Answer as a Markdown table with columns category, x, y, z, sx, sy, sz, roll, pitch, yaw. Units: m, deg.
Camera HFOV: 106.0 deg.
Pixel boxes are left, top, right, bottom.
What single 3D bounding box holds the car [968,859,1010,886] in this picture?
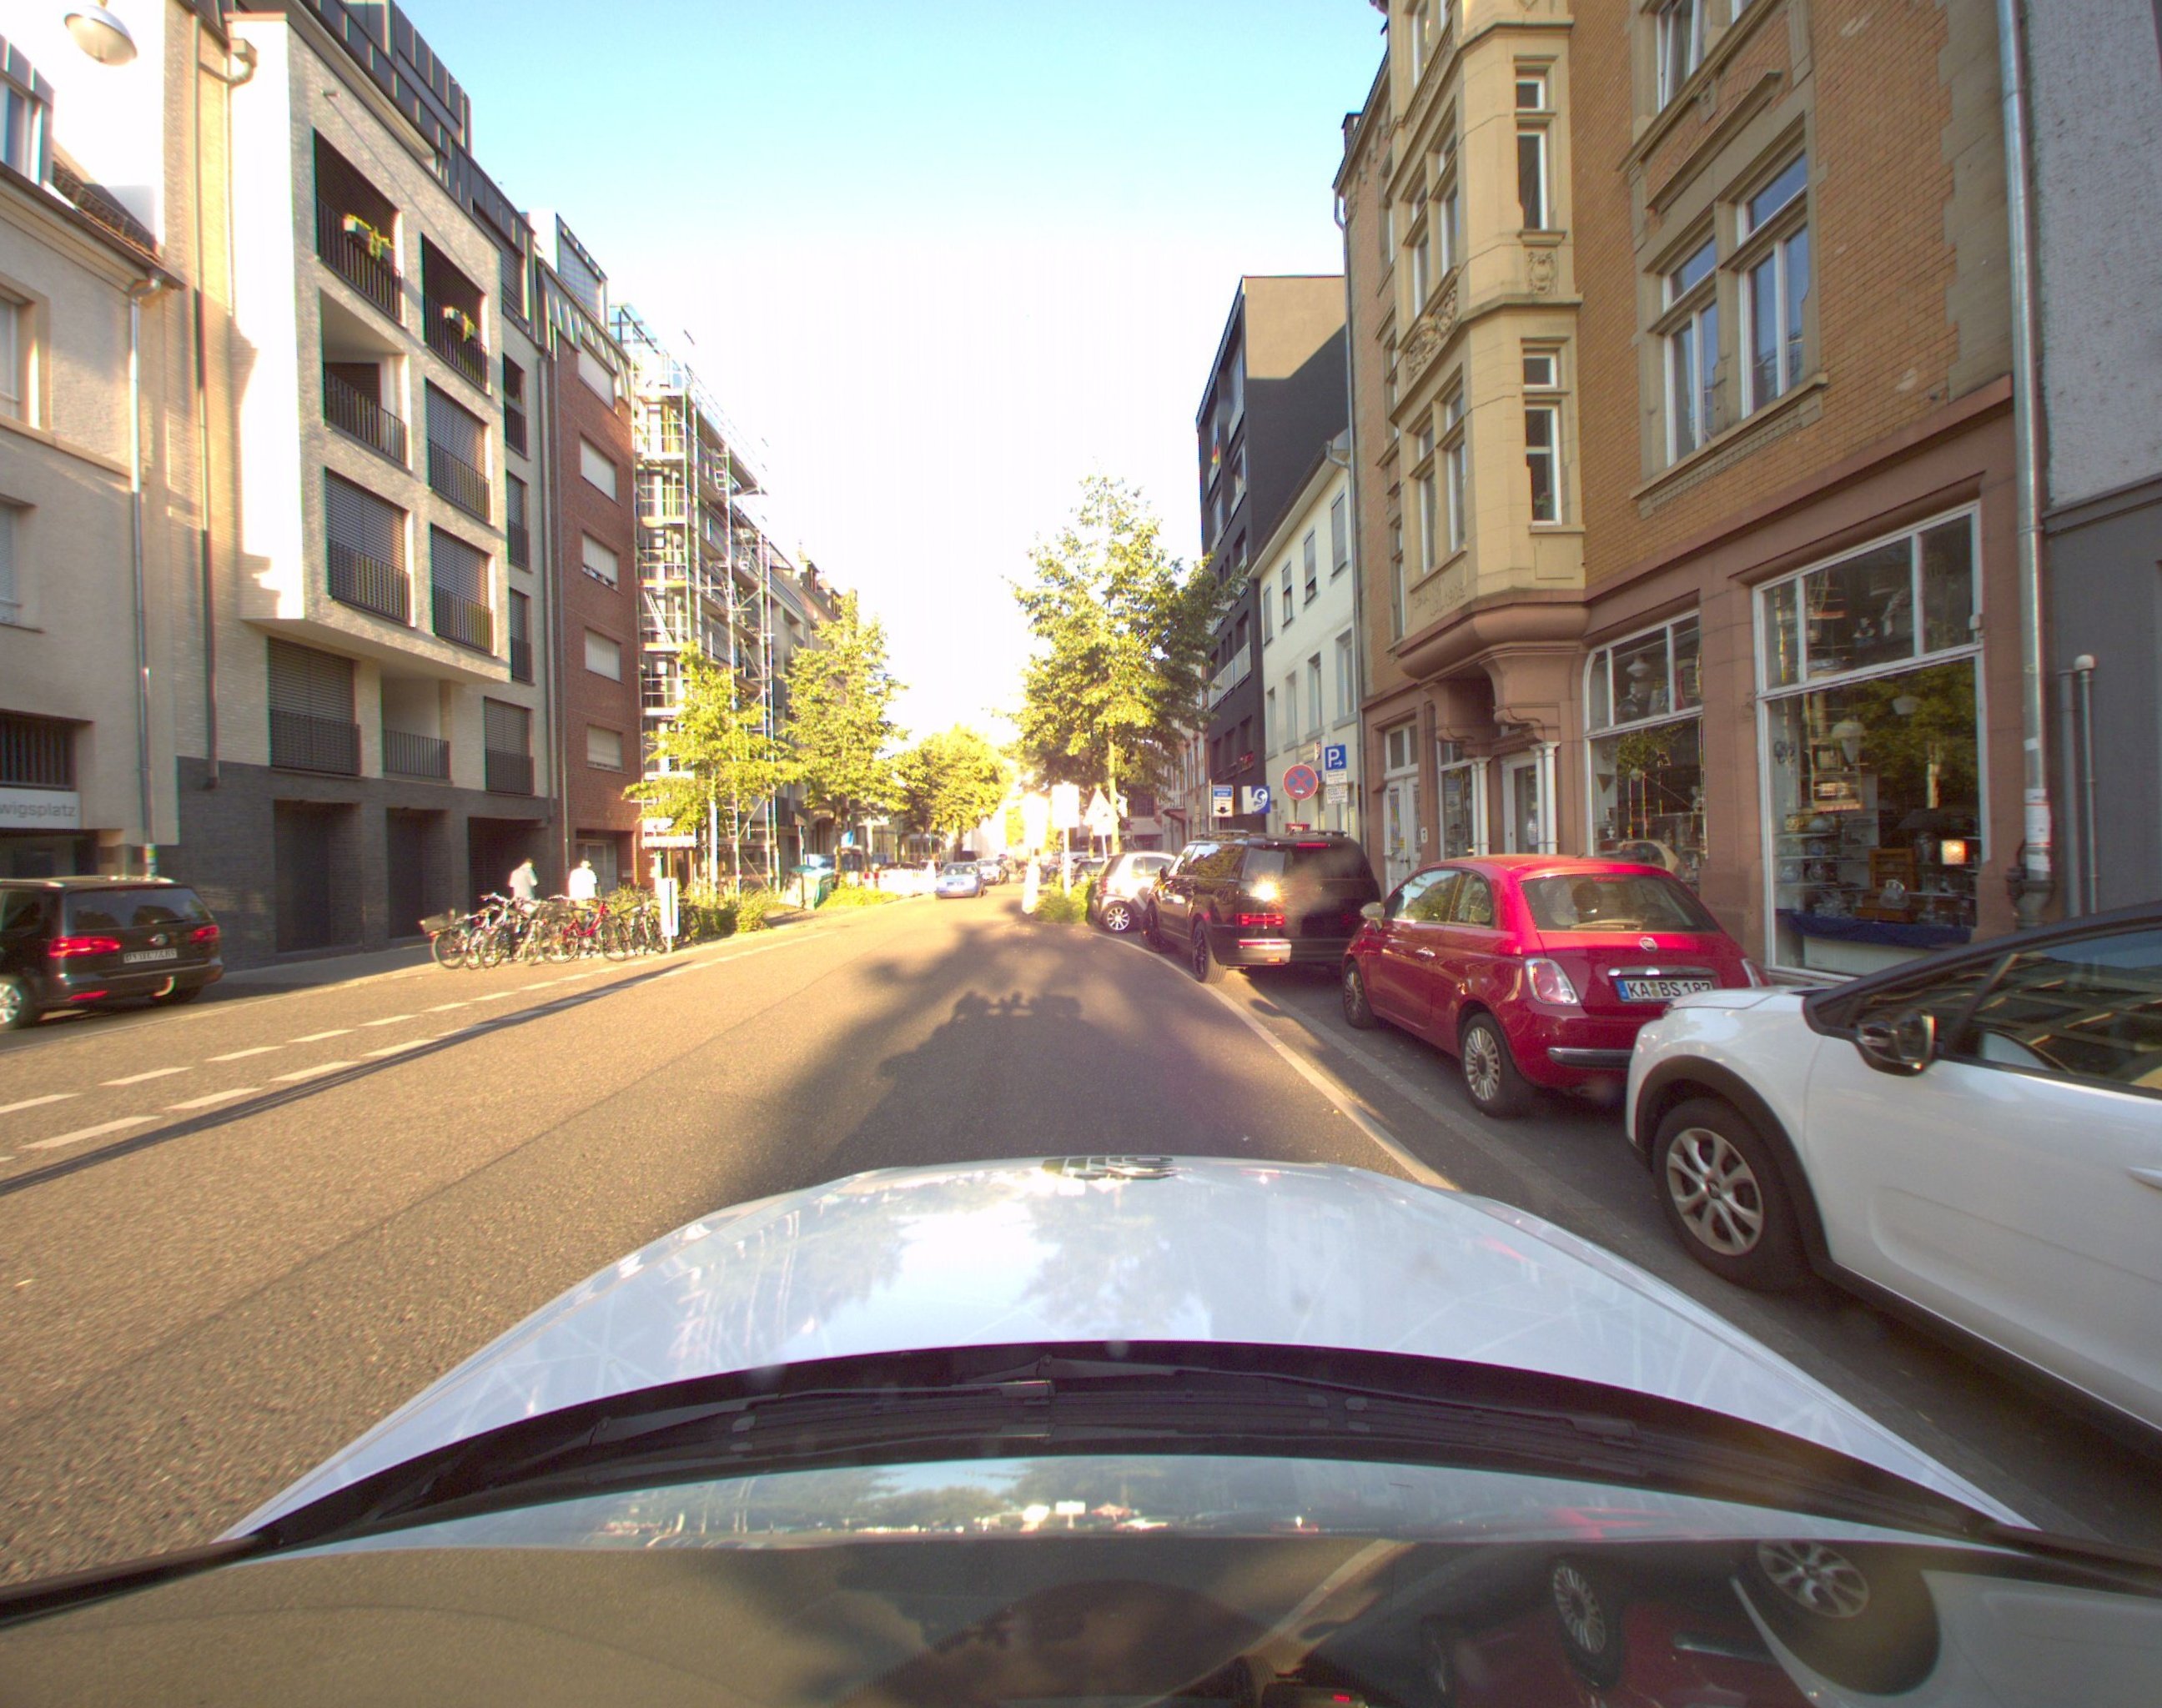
| category | x | y | z | sx | sy | sz | roll | pitch | yaw |
| --- | --- | --- | --- | --- | --- | --- | --- | --- | --- |
| car | -5.290 | 1.029 | 47.305 | 1.878 | 1.480 | 4.458 | 0 | 0 | 0 |

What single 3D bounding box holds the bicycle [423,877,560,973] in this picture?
| category | x | y | z | sx | sy | sz | roll | pitch | yaw |
| --- | --- | --- | --- | --- | --- | --- | --- | --- | --- |
| bicycle | -10.022 | 1.131 | 14.035 | 0.585 | 1.395 | 3.150 | 0 | -1 | -10 |

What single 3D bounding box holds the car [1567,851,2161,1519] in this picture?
| category | x | y | z | sx | sy | sz | roll | pitch | yaw |
| --- | --- | --- | --- | --- | --- | --- | --- | --- | --- |
| car | 3.056 | 0.678 | 1.786 | 1.662 | 1.378 | 3.800 | 0 | -1 | -1 |

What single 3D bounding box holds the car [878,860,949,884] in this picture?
| category | x | y | z | sx | sy | sz | roll | pitch | yaw |
| --- | --- | --- | --- | --- | --- | --- | --- | --- | --- |
| car | -10.591 | 1.135 | 51.726 | 4.090 | 1.466 | 1.889 | 0 | -1 | -1 |

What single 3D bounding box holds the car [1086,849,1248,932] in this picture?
| category | x | y | z | sx | sy | sz | roll | pitch | yaw |
| --- | --- | --- | --- | --- | --- | --- | --- | --- | --- |
| car | 1.658 | 0.693 | 16.198 | 2.965 | 1.536 | 1.430 | 0 | -1 | -6 |

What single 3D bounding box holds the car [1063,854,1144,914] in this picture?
| category | x | y | z | sx | sy | sz | roll | pitch | yaw |
| --- | --- | --- | --- | --- | --- | --- | --- | --- | --- |
| car | 0.581 | 0.851 | 24.925 | 1.990 | 1.668 | 4.502 | 0 | -1 | -5 |

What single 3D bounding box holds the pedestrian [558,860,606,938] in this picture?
| category | x | y | z | sx | sy | sz | roll | pitch | yaw |
| --- | --- | --- | --- | --- | --- | --- | --- | --- | --- |
| pedestrian | -11.326 | 1.000 | 18.507 | 0.716 | 1.740 | 0.736 | 0 | -1 | -10 |

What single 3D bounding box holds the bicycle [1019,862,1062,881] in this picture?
| category | x | y | z | sx | sy | sz | roll | pitch | yaw |
| --- | --- | --- | --- | --- | --- | --- | --- | --- | --- |
| bicycle | -3.035 | 1.301 | 60.826 | 3.175 | 1.351 | 0.845 | -2 | 0 | -8 |

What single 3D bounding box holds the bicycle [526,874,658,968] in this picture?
| category | x | y | z | sx | sy | sz | roll | pitch | yaw |
| --- | --- | --- | --- | --- | --- | --- | --- | --- | --- |
| bicycle | -8.492 | 1.090 | 14.356 | 0.893 | 1.395 | 3.155 | -1 | 0 | -10 |

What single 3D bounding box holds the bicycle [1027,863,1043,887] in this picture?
| category | x | y | z | sx | sy | sz | roll | pitch | yaw |
| --- | --- | --- | --- | --- | --- | --- | --- | --- | --- |
| bicycle | -2.523 | 1.124 | 44.344 | 0.779 | 1.204 | 2.018 | -2 | 0 | -4 |

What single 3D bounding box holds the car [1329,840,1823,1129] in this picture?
| category | x | y | z | sx | sy | sz | roll | pitch | yaw |
| --- | --- | --- | --- | --- | --- | --- | --- | --- | --- |
| car | 3.072 | 0.690 | 5.871 | 1.582 | 1.483 | 3.266 | 0 | -1 | 0 |

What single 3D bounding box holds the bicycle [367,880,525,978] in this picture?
| category | x | y | z | sx | sy | sz | roll | pitch | yaw |
| --- | --- | --- | --- | --- | --- | --- | --- | --- | --- |
| bicycle | -10.686 | 1.177 | 13.900 | 0.721 | 1.395 | 3.142 | 0 | -1 | -10 |

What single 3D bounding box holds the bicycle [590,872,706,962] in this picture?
| category | x | y | z | sx | sy | sz | roll | pitch | yaw |
| --- | --- | --- | --- | --- | --- | --- | --- | --- | --- |
| bicycle | -7.610 | 1.040 | 14.528 | 0.844 | 1.350 | 3.176 | -2 | 0 | -10 |

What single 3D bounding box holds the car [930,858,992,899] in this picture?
| category | x | y | z | sx | sy | sz | roll | pitch | yaw |
| --- | --- | --- | --- | --- | --- | --- | --- | --- | --- |
| car | -4.708 | 0.925 | 32.464 | 1.833 | 1.441 | 4.330 | -2 | 0 | -1 |

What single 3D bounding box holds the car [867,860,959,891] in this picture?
| category | x | y | z | sx | sy | sz | roll | pitch | yaw |
| --- | --- | --- | --- | --- | --- | --- | --- | --- | --- |
| car | -8.131 | 1.019 | 39.750 | 4.090 | 1.466 | 1.889 | 0 | -1 | -1 |

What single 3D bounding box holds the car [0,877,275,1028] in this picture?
| category | x | y | z | sx | sy | sz | roll | pitch | yaw |
| --- | --- | --- | --- | --- | --- | --- | --- | --- | --- |
| car | -13.021 | 1.112 | 9.893 | 4.478 | 1.601 | 2.001 | 0 | -1 | 1 |

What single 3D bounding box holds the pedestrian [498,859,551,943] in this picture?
| category | x | y | z | sx | sy | sz | roll | pitch | yaw |
| --- | --- | --- | --- | --- | --- | --- | --- | --- | --- |
| pedestrian | -12.039 | 1.004 | 17.644 | 0.716 | 1.767 | 0.692 | 0 | -1 | -10 |

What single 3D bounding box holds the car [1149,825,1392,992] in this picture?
| category | x | y | z | sx | sy | sz | roll | pitch | yaw |
| --- | --- | --- | --- | --- | --- | --- | --- | --- | --- |
| car | 2.138 | 0.570 | 10.546 | 1.822 | 1.695 | 4.361 | 0 | -1 | -5 |

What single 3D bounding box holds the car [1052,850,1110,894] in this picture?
| category | x | y | z | sx | sy | sz | roll | pitch | yaw |
| --- | --- | --- | --- | --- | --- | --- | --- | --- | --- |
| car | -0.079 | 0.808 | 38.153 | 2.261 | 1.766 | 4.501 | 4 | -1 | -5 |

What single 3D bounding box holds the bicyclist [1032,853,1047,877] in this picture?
| category | x | y | z | sx | sy | sz | roll | pitch | yaw |
| --- | --- | --- | --- | --- | --- | --- | --- | --- | --- |
| bicyclist | -3.101 | 0.808 | 60.862 | 1.003 | 1.696 | 0.781 | -2 | -1 | -7 |

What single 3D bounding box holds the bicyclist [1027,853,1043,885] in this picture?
| category | x | y | z | sx | sy | sz | roll | pitch | yaw |
| --- | --- | --- | --- | --- | --- | --- | --- | --- | --- |
| bicyclist | -2.526 | 0.814 | 44.316 | 0.779 | 1.696 | 1.006 | -2 | -1 | -4 |

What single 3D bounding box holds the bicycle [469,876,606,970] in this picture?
| category | x | y | z | sx | sy | sz | roll | pitch | yaw |
| --- | --- | --- | --- | --- | --- | --- | --- | --- | --- |
| bicycle | -9.335 | 1.111 | 14.183 | 0.781 | 1.373 | 3.131 | 0 | -1 | -10 |

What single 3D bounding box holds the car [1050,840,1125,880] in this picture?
| category | x | y | z | sx | sy | sz | roll | pitch | yaw |
| --- | --- | --- | --- | --- | --- | --- | --- | --- | --- |
| car | 0.409 | 0.331 | 44.587 | 3.971 | 2.013 | 2.001 | -2 | 0 | 2 |
